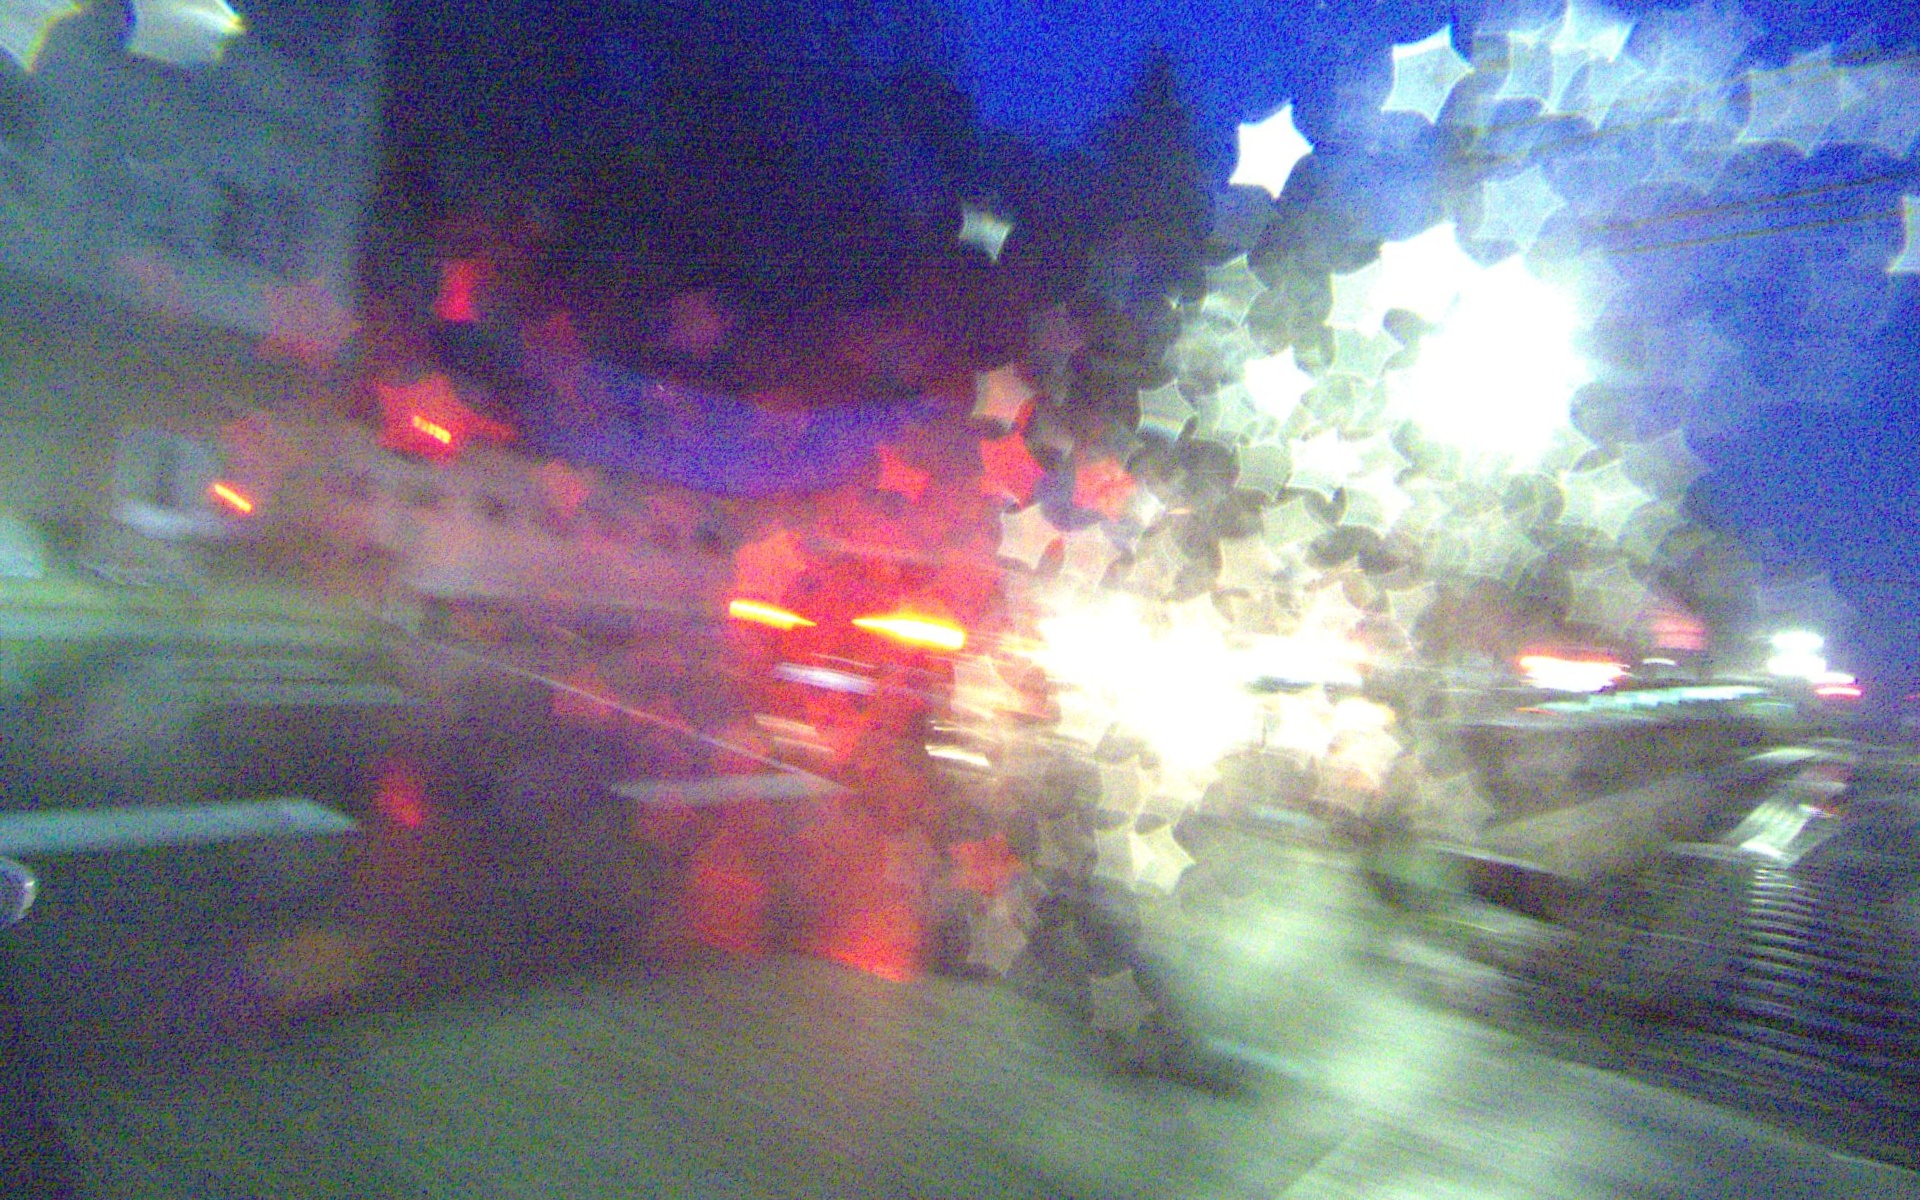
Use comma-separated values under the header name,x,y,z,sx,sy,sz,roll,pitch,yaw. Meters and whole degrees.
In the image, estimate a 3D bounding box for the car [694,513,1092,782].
name,x,y,z,sx,sy,sz,roll,pitch,yaw
car,-0.296,0.501,9.276,2.026,1.696,4.145,7,-3,19

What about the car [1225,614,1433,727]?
name,x,y,z,sx,sy,sz,roll,pitch,yaw
car,6.472,1.207,17.375,1.889,1.530,4.219,7,1,41

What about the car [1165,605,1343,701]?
name,x,y,z,sx,sy,sz,roll,pitch,yaw
car,6.429,1.184,21.710,1.954,1.534,4.189,5,-3,42

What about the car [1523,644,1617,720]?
name,x,y,z,sx,sy,sz,roll,pitch,yaw
car,19.211,2.625,31.601,1.751,1.970,4.238,8,-1,40

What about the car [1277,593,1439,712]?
name,x,y,z,sx,sy,sz,roll,pitch,yaw
car,10.438,1.434,26.165,2.146,2.469,4.840,6,-3,43
